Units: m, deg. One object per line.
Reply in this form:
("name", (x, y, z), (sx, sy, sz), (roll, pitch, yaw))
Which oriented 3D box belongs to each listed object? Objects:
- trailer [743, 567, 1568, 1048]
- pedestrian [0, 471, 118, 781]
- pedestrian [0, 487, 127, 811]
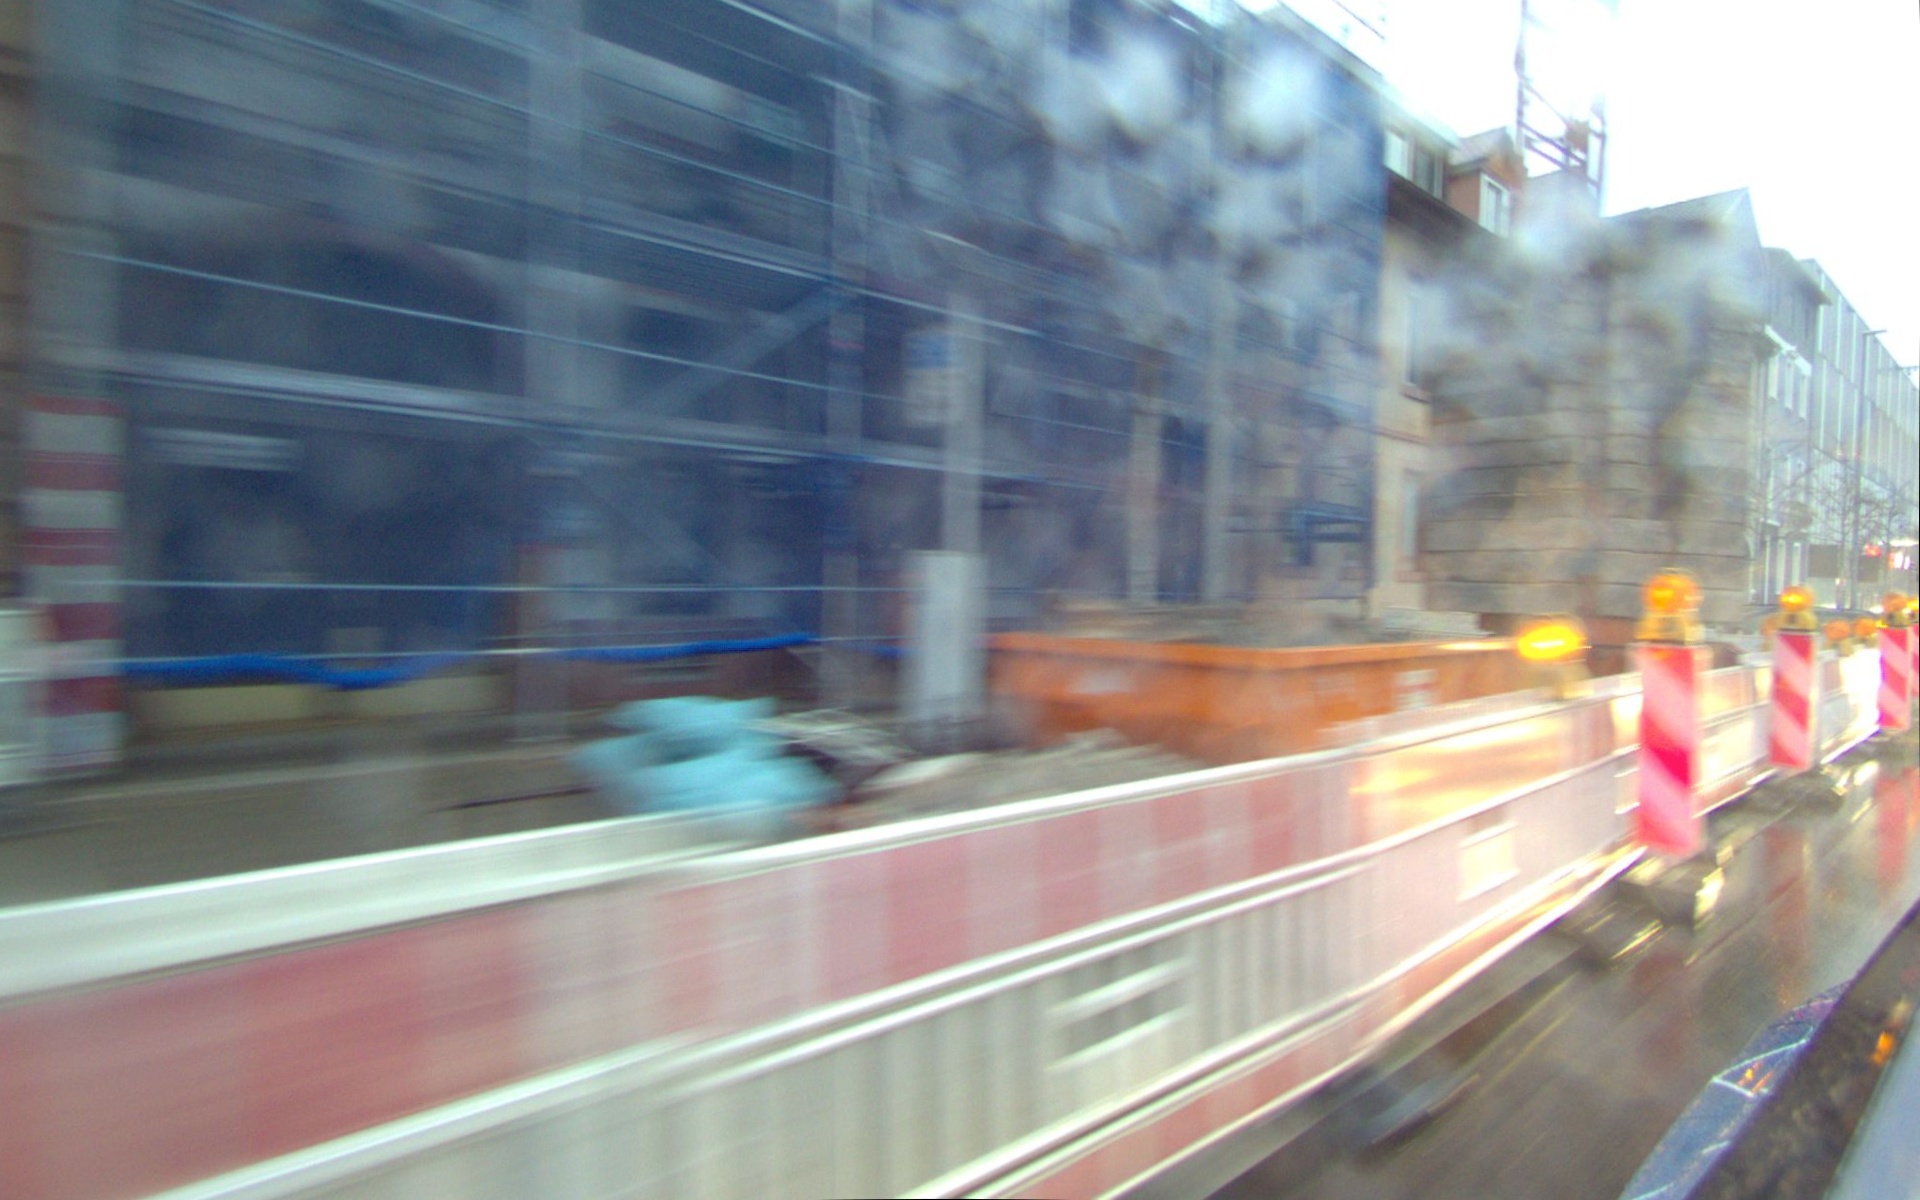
("trailer", (1.410, 0.635, 5.473), (4.763, 1.508, 1.838), (0, 2, -41))
("pedestrian", (-5.456, 0.130, 5.983), (0.714, 1.731, 0.643), (0, 3, -41))
("pedestrian", (-4.951, 0.229, 5.491), (0.639, 1.641, 0.712), (0, 3, -41))
